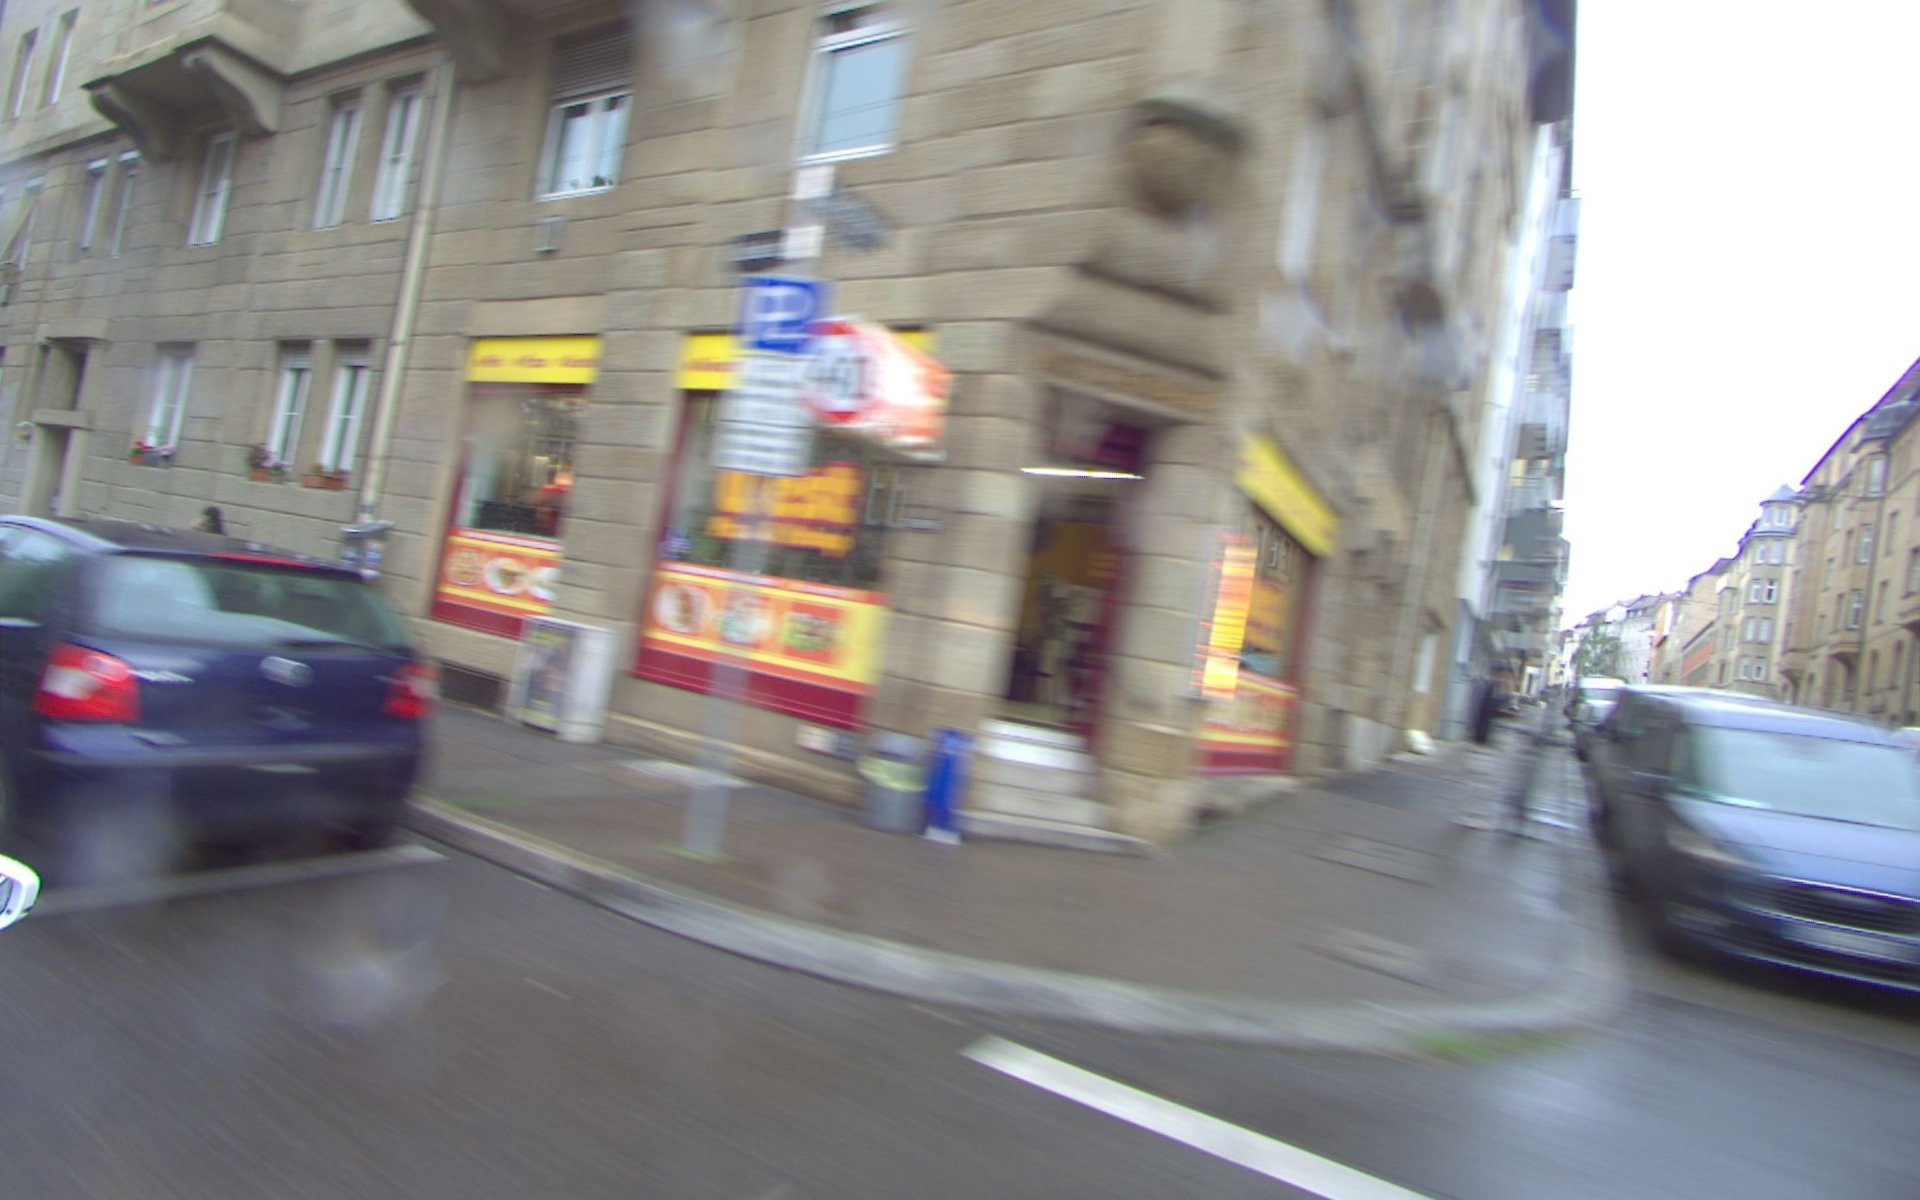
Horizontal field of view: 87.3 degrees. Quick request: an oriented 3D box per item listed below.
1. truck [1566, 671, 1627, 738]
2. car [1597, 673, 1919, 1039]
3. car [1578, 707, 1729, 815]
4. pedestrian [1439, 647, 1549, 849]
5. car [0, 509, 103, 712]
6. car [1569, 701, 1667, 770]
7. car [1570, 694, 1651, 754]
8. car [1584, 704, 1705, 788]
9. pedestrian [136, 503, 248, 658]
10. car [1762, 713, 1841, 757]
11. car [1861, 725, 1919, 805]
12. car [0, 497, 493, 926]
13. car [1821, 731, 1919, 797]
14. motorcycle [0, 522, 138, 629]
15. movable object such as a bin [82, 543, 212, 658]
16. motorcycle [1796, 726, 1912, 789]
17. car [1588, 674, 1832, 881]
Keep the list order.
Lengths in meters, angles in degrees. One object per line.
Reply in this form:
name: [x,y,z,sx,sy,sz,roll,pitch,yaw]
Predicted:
truck: [28.630,4.656,45.392,1.831,2.553,6.709,7,-1,31]
car: [6.381,1.683,7.901,1.966,1.884,4.786,7,-1,31]
car: [12.547,2.829,18.448,1.831,1.407,4.179,7,-1,31]
pedestrian: [5.867,1.597,11.047,0.744,2.037,0.626,9,1,32]
car: [-8.783,-0.177,7.746,4.408,1.403,1.759,7,-1,28]
car: [17.509,3.551,26.939,1.831,1.407,4.179,7,-1,31]
car: [20.586,3.868,31.991,1.831,1.501,4.179,7,-1,31]
car: [15.381,3.221,22.804,1.831,1.407,4.179,7,-1,31]
pedestrian: [-8.267,-0.209,10.832,0.698,1.552,0.562,7,-2,32]
car: [36.397,5.802,43.627,1.794,1.521,4.101,8,-1,31]
car: [24.547,4.230,25.178,1.893,1.825,4.479,8,-1,31]
car: [-4.348,0.290,5.153,3.728,1.461,1.674,7,-1,32]
car: [27.437,4.868,29.927,1.893,1.521,4.101,8,-1,31]
motorcycle: [-12.733,-0.372,14.269,2.700,1.212,0.707,7,-3,32]
movable object such as a bin: [-9.112,0.004,11.275,1.105,1.115,0.667,7,-3,31]
motorcycle: [29.333,5.157,33.065,2.537,1.521,0.982,8,0,15]
car: [9.385,2.046,12.999,1.967,1.949,4.710,5,-1,32]
